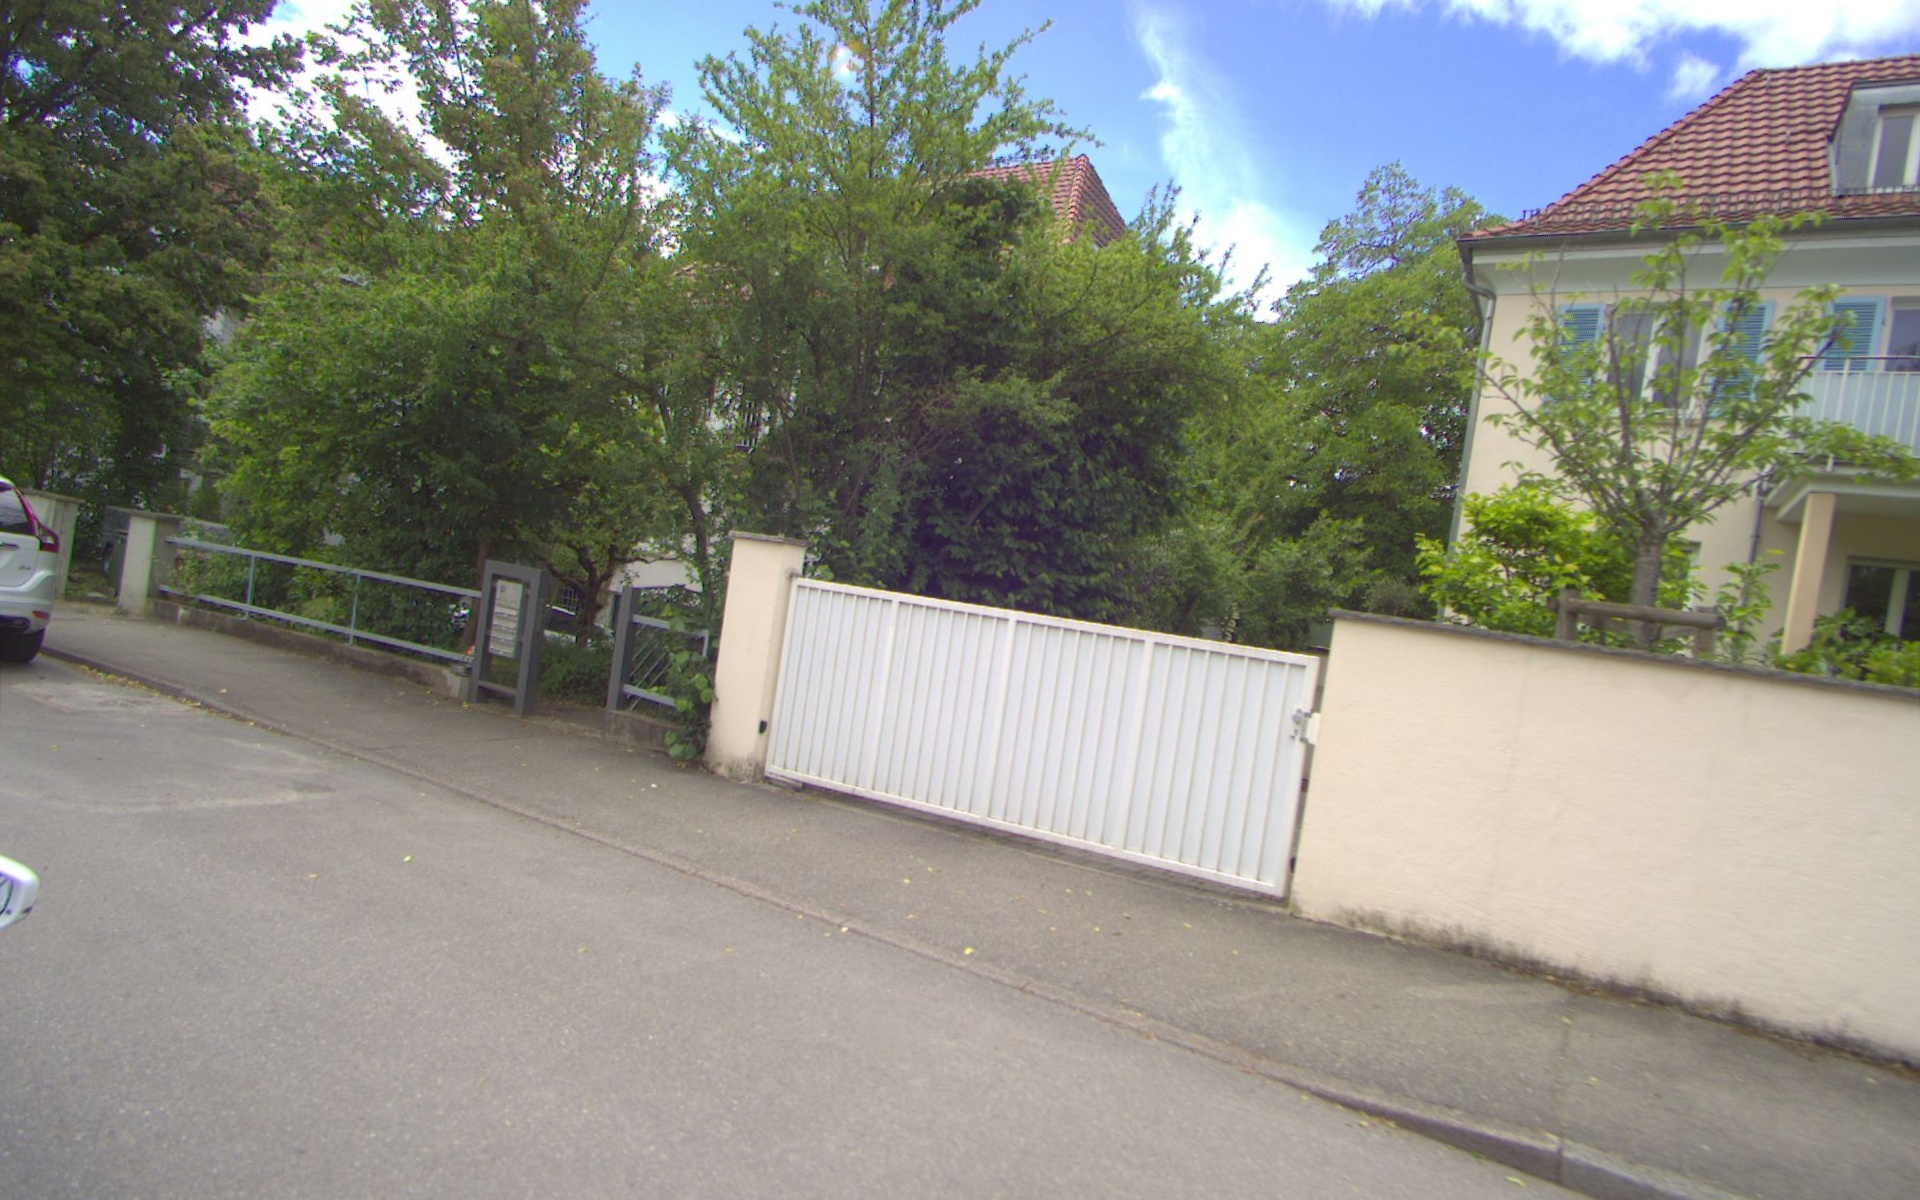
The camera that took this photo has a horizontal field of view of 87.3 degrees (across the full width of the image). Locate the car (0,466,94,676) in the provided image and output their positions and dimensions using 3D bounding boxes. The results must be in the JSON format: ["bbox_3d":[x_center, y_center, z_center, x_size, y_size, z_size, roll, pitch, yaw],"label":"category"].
[{"bbox_3d":[-9.930,-0.498,9.024,4.277,1.705,1.869,7,-1,30],"label":"car"}]
